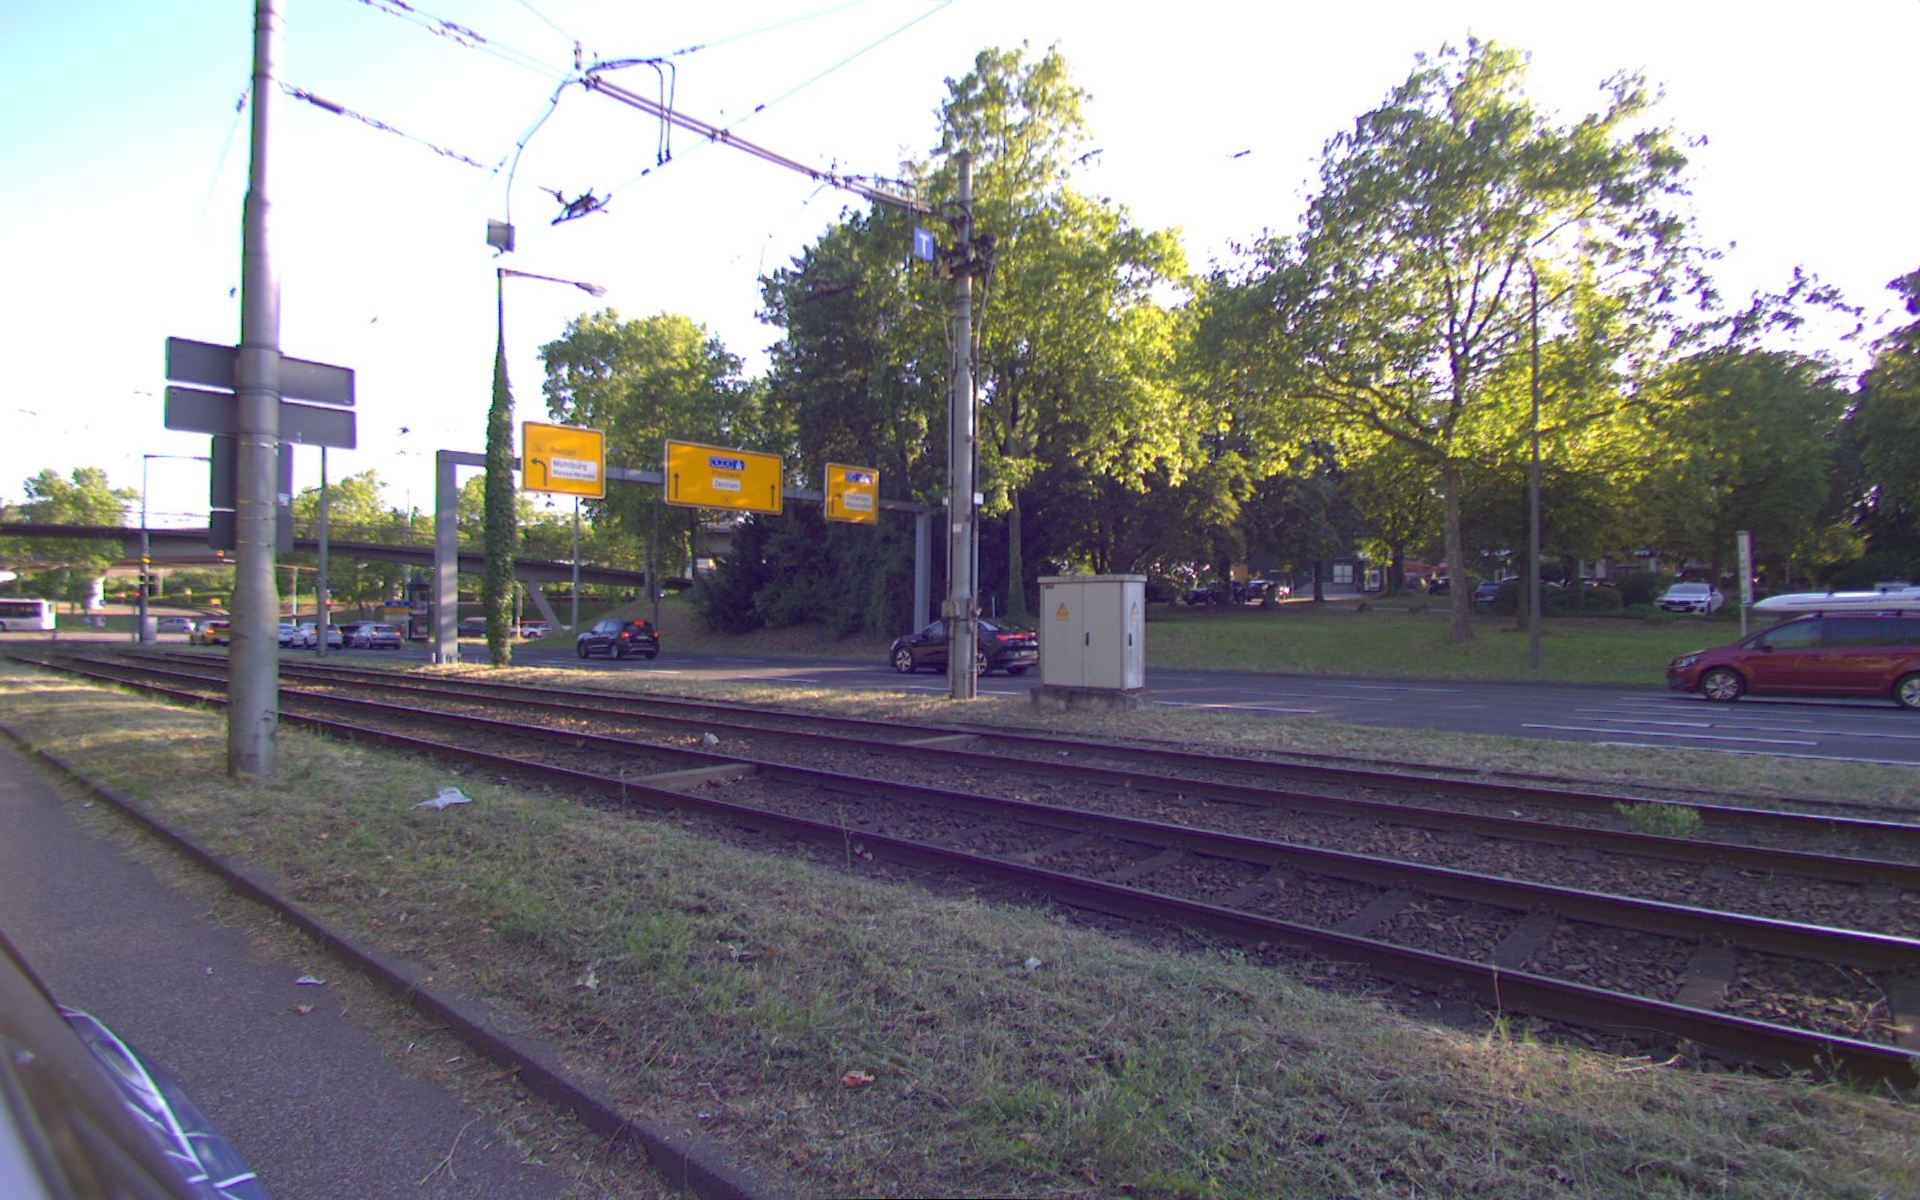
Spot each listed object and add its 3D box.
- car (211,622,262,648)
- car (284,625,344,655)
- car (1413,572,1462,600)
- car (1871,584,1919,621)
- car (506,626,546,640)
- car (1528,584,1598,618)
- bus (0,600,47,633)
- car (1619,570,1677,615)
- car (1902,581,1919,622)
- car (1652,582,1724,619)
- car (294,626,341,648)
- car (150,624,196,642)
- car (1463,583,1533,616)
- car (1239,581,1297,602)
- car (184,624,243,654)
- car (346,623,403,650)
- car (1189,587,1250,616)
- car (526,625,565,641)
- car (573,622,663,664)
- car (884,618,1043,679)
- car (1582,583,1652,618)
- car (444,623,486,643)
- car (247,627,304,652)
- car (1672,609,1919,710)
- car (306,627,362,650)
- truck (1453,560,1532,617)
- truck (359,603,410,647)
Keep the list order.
[{"bbox_3d":[-45.832,2.181,64.041,4.228,1.561,1.892,-1,-2,44],"label":"car"},{"bbox_3d":[-35.735,2.203,55.952,3.997,1.556,1.744,-1,-1,40],"label":"car"},{"bbox_3d":[33.563,-0.987,71.056,2.290,1.864,5.214,-1,1,34],"label":"car"},{"bbox_3d":[43.975,0.102,47.221,3.998,1.628,1.864,-1,0,-43],"label":"car"},{"bbox_3d":[-47.233,3.572,110.256,3.810,1.421,1.817,-1,0,-30],"label":"car"},{"bbox_3d":[28.431,0.021,47.652,1.942,1.521,4.039,0,0,44],"label":"car"},{"bbox_3d":[-88.233,1.521,87.979,12.967,2.884,2.424,-1,0,-29],"label":"bus"},{"bbox_3d":[36.892,-0.393,54.234,2.161,2.320,4.348,0,0,40],"label":"car"},{"bbox_3d":[37.586,0.042,38.888,1.942,1.521,4.039,0,0,44],"label":"car"},{"bbox_3d":[31.567,0.008,43.840,1.942,1.521,4.039,0,0,44],"label":"car"},{"bbox_3d":[-44.268,2.505,69.671,1.891,1.435,4.229,0,-1,-44],"label":"car"},{"bbox_3d":[-74.571,3.121,95.975,3.314,1.581,1.616,-1,-1,-32],"label":"car"},{"bbox_3d":[26.176,-0.039,49.181,1.942,1.521,4.039,0,0,44],"label":"car"},{"bbox_3d":[22.890,-0.642,75.216,4.029,1.521,1.947,-1,0,-32],"label":"car"},{"bbox_3d":[-40.798,2.121,55.252,3.997,1.556,1.744,-1,-1,40],"label":"car"},{"bbox_3d":[-34.957,2.154,60.412,3.998,1.556,1.789,-1,-1,41],"label":"car"},{"bbox_3d":[15.401,0.067,59.952,1.791,1.657,3.942,-1,-1,44],"label":"car"},{"bbox_3d":[-43.928,3.488,107.298,3.747,1.591,1.683,-1,0,-26],"label":"car"},{"bbox_3d":[-13.540,1.681,39.918,3.974,1.569,1.732,-2,-3,44],"label":"car"},{"bbox_3d":[0.032,1.285,27.735,4.332,1.556,1.713,-1,-2,41],"label":"car"},{"bbox_3d":[30.041,0.012,46.215,1.942,1.521,4.039,0,0,44],"label":"car"},{"bbox_3d":[-50.866,3.403,103.976,3.748,1.872,1.682,-1,0,-30],"label":"car"},{"bbox_3d":[-40.569,2.319,59.951,4.226,1.435,1.893,-1,-1,42],"label":"car"},{"bbox_3d":[15.353,1.016,17.980,4.307,1.647,1.819,-1,-2,39],"label":"car"},{"bbox_3d":[-39.757,2.426,64.225,4.224,1.435,1.844,-1,-1,40],"label":"car"},{"bbox_3d":[31.749,-0.682,60.280,2.503,3.191,6.137,0,0,45],"label":"truck"},{"bbox_3d":[-40.297,1.740,70.764,2.248,2.901,6.895,0,-1,-37],"label":"truck"}]
